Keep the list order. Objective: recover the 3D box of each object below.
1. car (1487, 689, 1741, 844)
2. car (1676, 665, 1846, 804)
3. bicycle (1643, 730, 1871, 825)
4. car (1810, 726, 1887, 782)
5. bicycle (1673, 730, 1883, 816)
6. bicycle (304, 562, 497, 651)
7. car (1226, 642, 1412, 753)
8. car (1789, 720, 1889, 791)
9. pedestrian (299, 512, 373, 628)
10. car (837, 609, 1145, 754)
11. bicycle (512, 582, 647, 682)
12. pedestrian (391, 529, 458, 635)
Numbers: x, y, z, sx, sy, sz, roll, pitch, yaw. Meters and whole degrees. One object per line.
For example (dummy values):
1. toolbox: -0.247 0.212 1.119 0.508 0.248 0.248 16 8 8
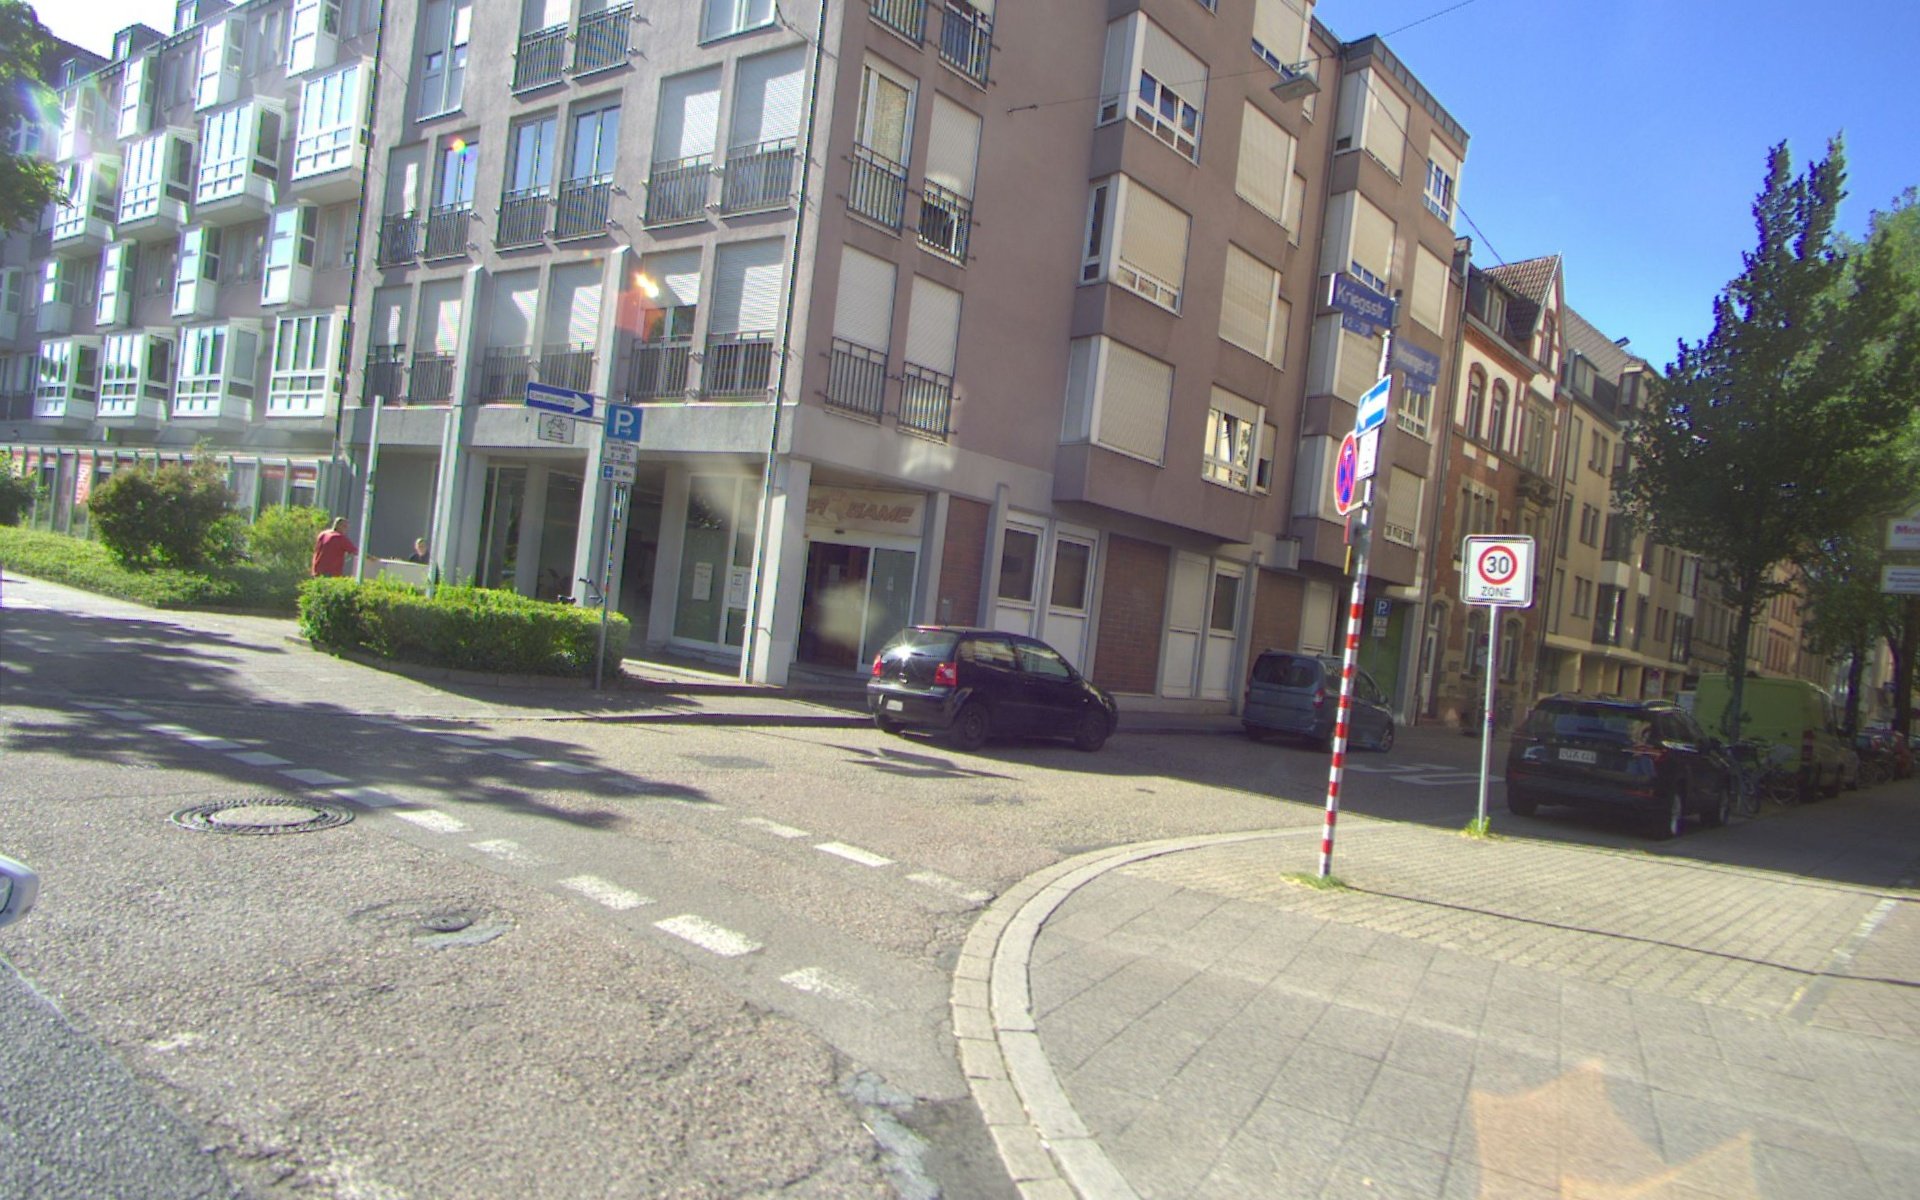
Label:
1. car: 8.475 2.062 12.895 3.931 1.540 1.775 8 -4 -43
2. car: 16.664 2.781 20.826 2.110 2.329 4.782 6 -2 45
3. bicycle: 12.890 2.846 16.361 1.053 1.038 2.738 9 -4 -43
4. car: 29.395 5.112 33.252 1.633 1.473 3.879 6 -4 44
5. bicycle: 14.416 3.019 17.805 1.053 1.038 2.738 9 -4 -43
6. bicycle: -7.663 0.126 13.901 0.676 1.041 2.197 9 2 33
7. car: 7.024 1.925 19.467 1.772 1.726 3.936 6 -2 45
8. car: 24.378 4.295 27.856 1.772 1.540 3.936 6 -2 45
9. pedestrian: -9.130 -0.429 14.726 0.593 1.625 0.654 6 3 26
10. car: 0.535 1.141 13.473 1.838 1.540 3.936 4 -4 45
11. bicycle: -5.256 0.419 13.811 2.171 1.041 0.684 9 3 40
12. pedestrian: -8.582 -0.282 16.126 0.593 1.625 0.654 6 3 26
